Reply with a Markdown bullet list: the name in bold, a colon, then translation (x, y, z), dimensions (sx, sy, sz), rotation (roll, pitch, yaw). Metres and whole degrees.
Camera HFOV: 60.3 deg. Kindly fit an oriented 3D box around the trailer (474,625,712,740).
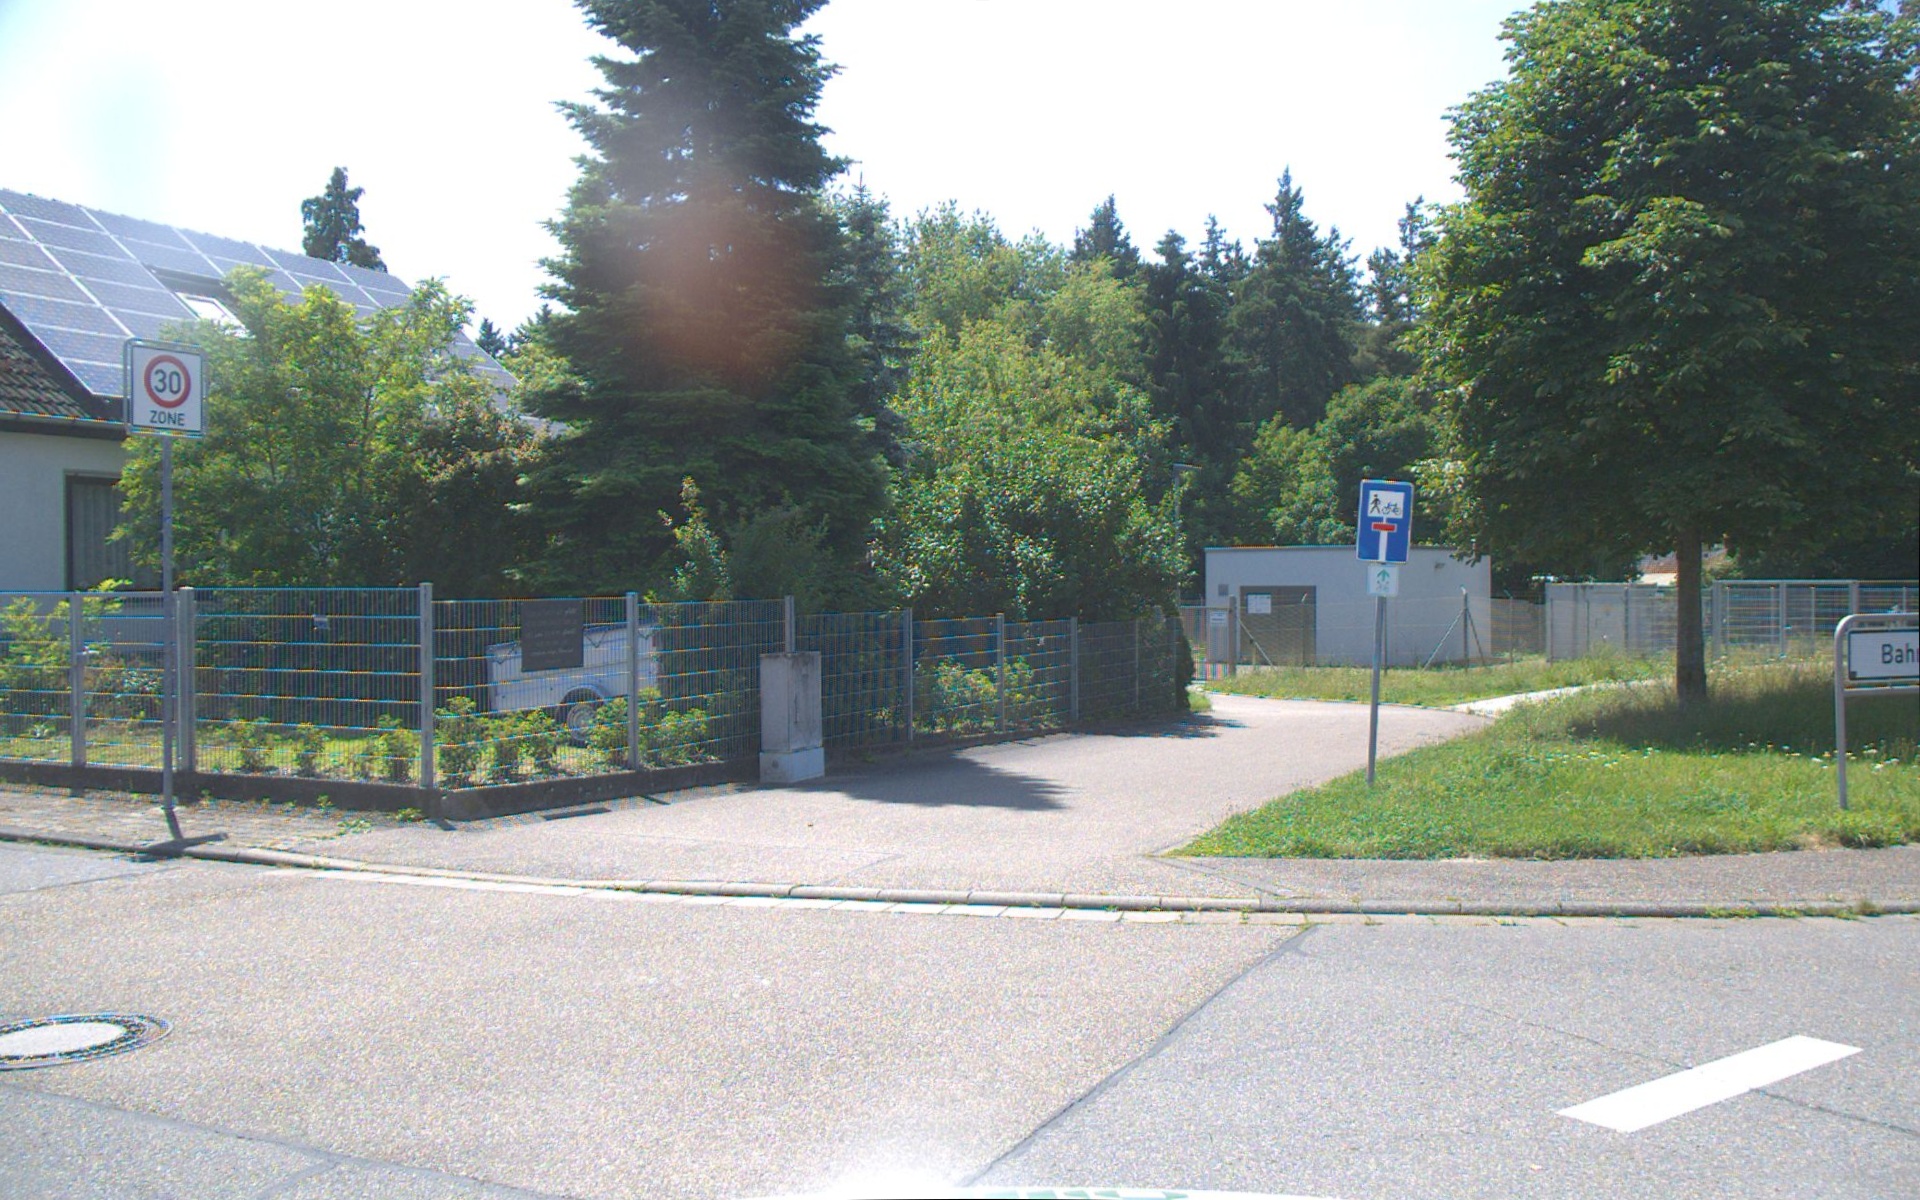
- **trailer**: translation (-3.821, 0.831, 17.297), dimensions (2.168, 1.103, 1.107), rotation (0, 0, 18)
